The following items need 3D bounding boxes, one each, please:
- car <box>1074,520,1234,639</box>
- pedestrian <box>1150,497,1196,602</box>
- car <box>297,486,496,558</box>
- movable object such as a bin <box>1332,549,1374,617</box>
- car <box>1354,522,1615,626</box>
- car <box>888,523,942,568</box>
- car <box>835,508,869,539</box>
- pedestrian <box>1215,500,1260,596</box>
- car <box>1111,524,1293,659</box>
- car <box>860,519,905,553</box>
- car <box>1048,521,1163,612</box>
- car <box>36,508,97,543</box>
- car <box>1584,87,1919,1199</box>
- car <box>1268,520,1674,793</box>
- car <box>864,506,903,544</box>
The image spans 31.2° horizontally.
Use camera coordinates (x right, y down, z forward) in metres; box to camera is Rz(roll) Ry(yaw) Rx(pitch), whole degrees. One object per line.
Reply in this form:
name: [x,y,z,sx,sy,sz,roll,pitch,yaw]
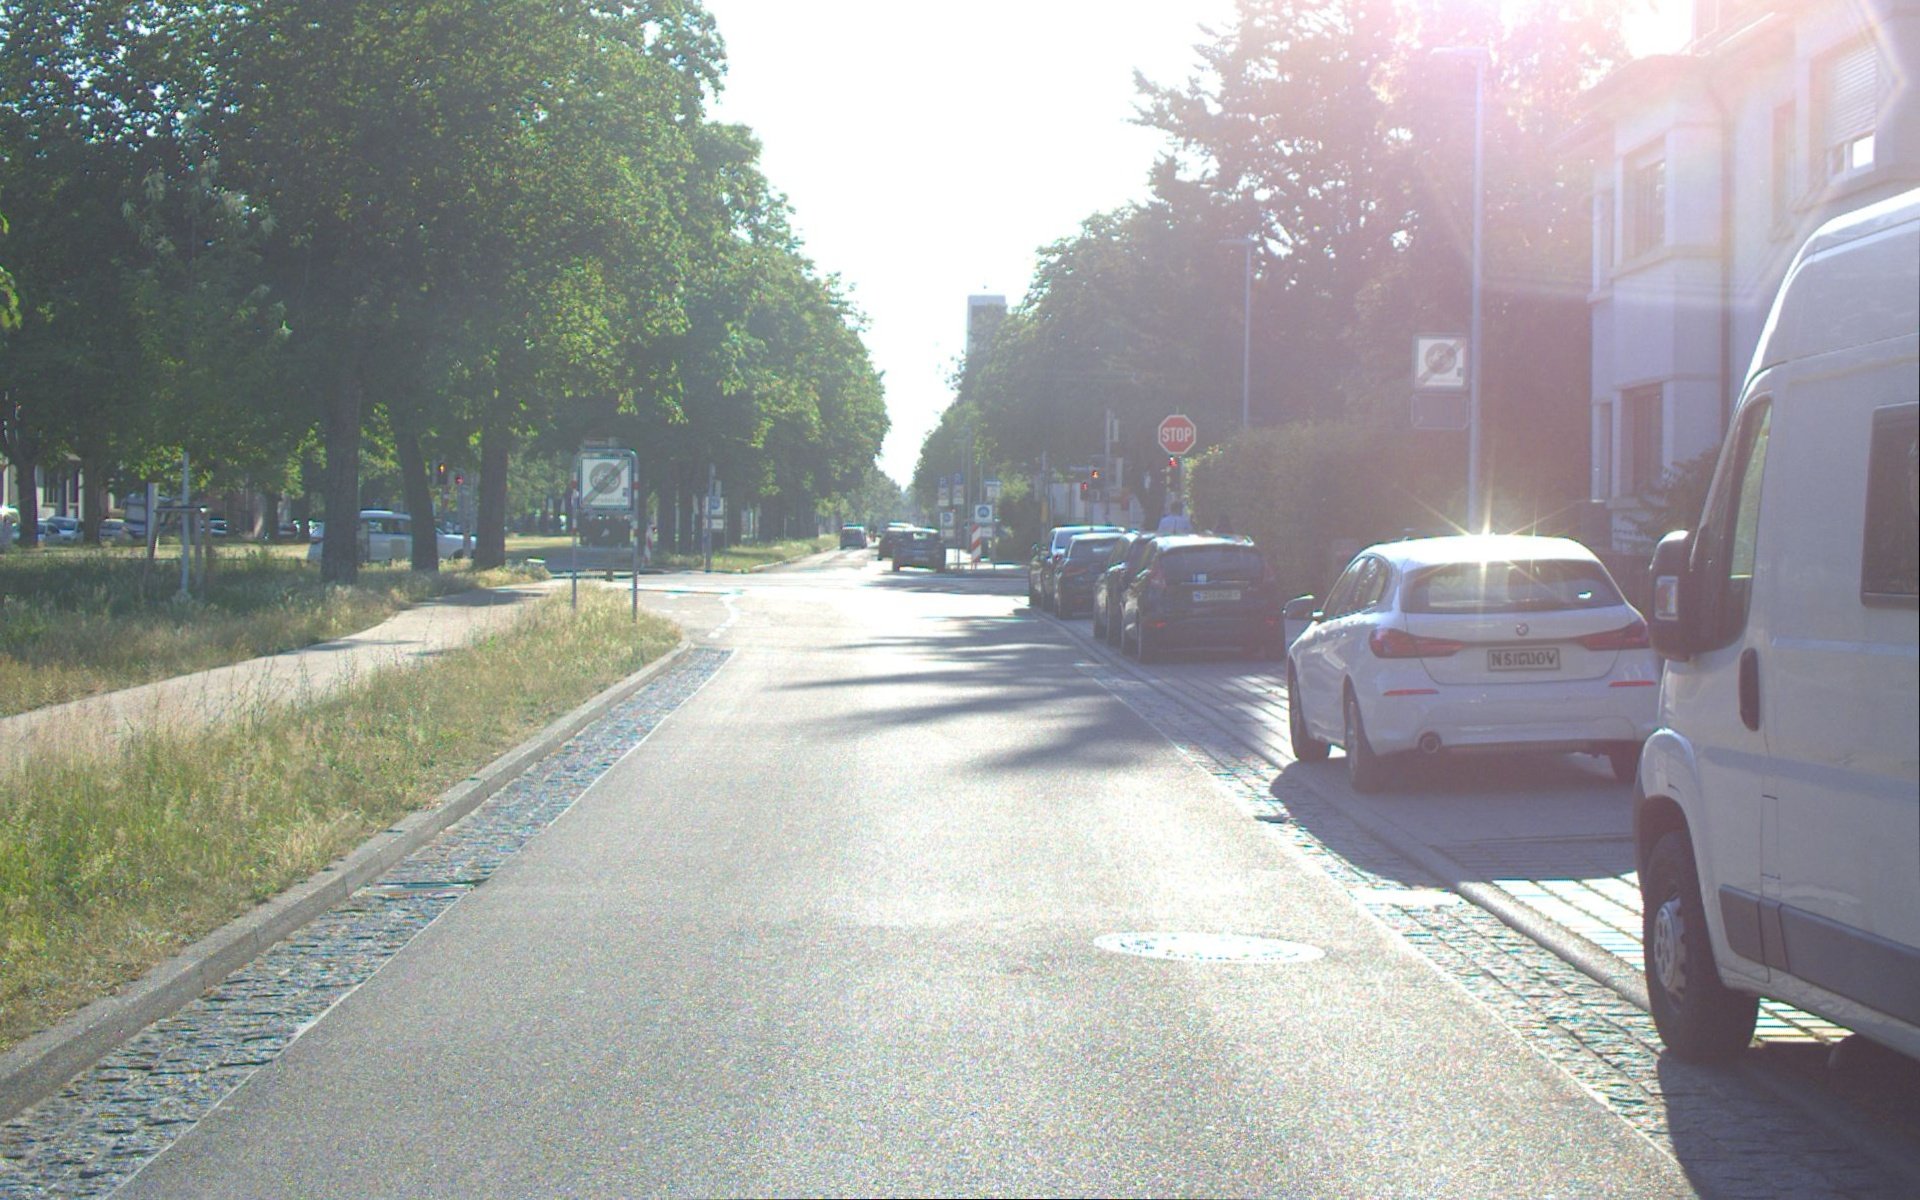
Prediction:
car: [2.534,-0.307,45.805,1.746,1.469,4.256,1,1,-2]
pedestrian: [3.816,-0.908,61.608,0.670,1.859,0.882,1,1,-4]
car: [-13.396,-1.867,81.712,4.409,1.671,1.898,-1,2,-19]
movable object such as a bin: [6.159,-0.274,53.880,0.507,1.039,0.659,1,1,-6]
car: [7.871,-0.401,51.776,3.634,1.491,1.781,-1,1,-1]
car: [-1.473,-1.815,113.926,1.641,1.446,3.307,1,1,1]
car: [-7.241,-5.128,230.360,2.134,2.007,3.902,2,1,0]
pedestrian: [4.976,-0.934,61.676,0.669,1.702,0.623,1,1,-3]
car: [2.793,-0.139,40.414,1.718,1.466,3.984,-2,1,-2]
car: [-3.324,-2.765,147.889,1.845,1.389,3.829,2,1,0]
car: [2.370,-0.578,56.938,1.641,1.423,3.937,-1,1,-1]
car: [-39.598,-3.297,152.435,1.738,1.422,3.793,1,3,0]
car: [3.194,0.101,8.387,2.129,2.509,5.509,1,2,-2]
car: [3.101,0.274,21.688,1.782,1.502,4.234,1,2,-2]
car: [-4.123,-4.037,185.204,1.993,2.007,3.858,1,1,0]
